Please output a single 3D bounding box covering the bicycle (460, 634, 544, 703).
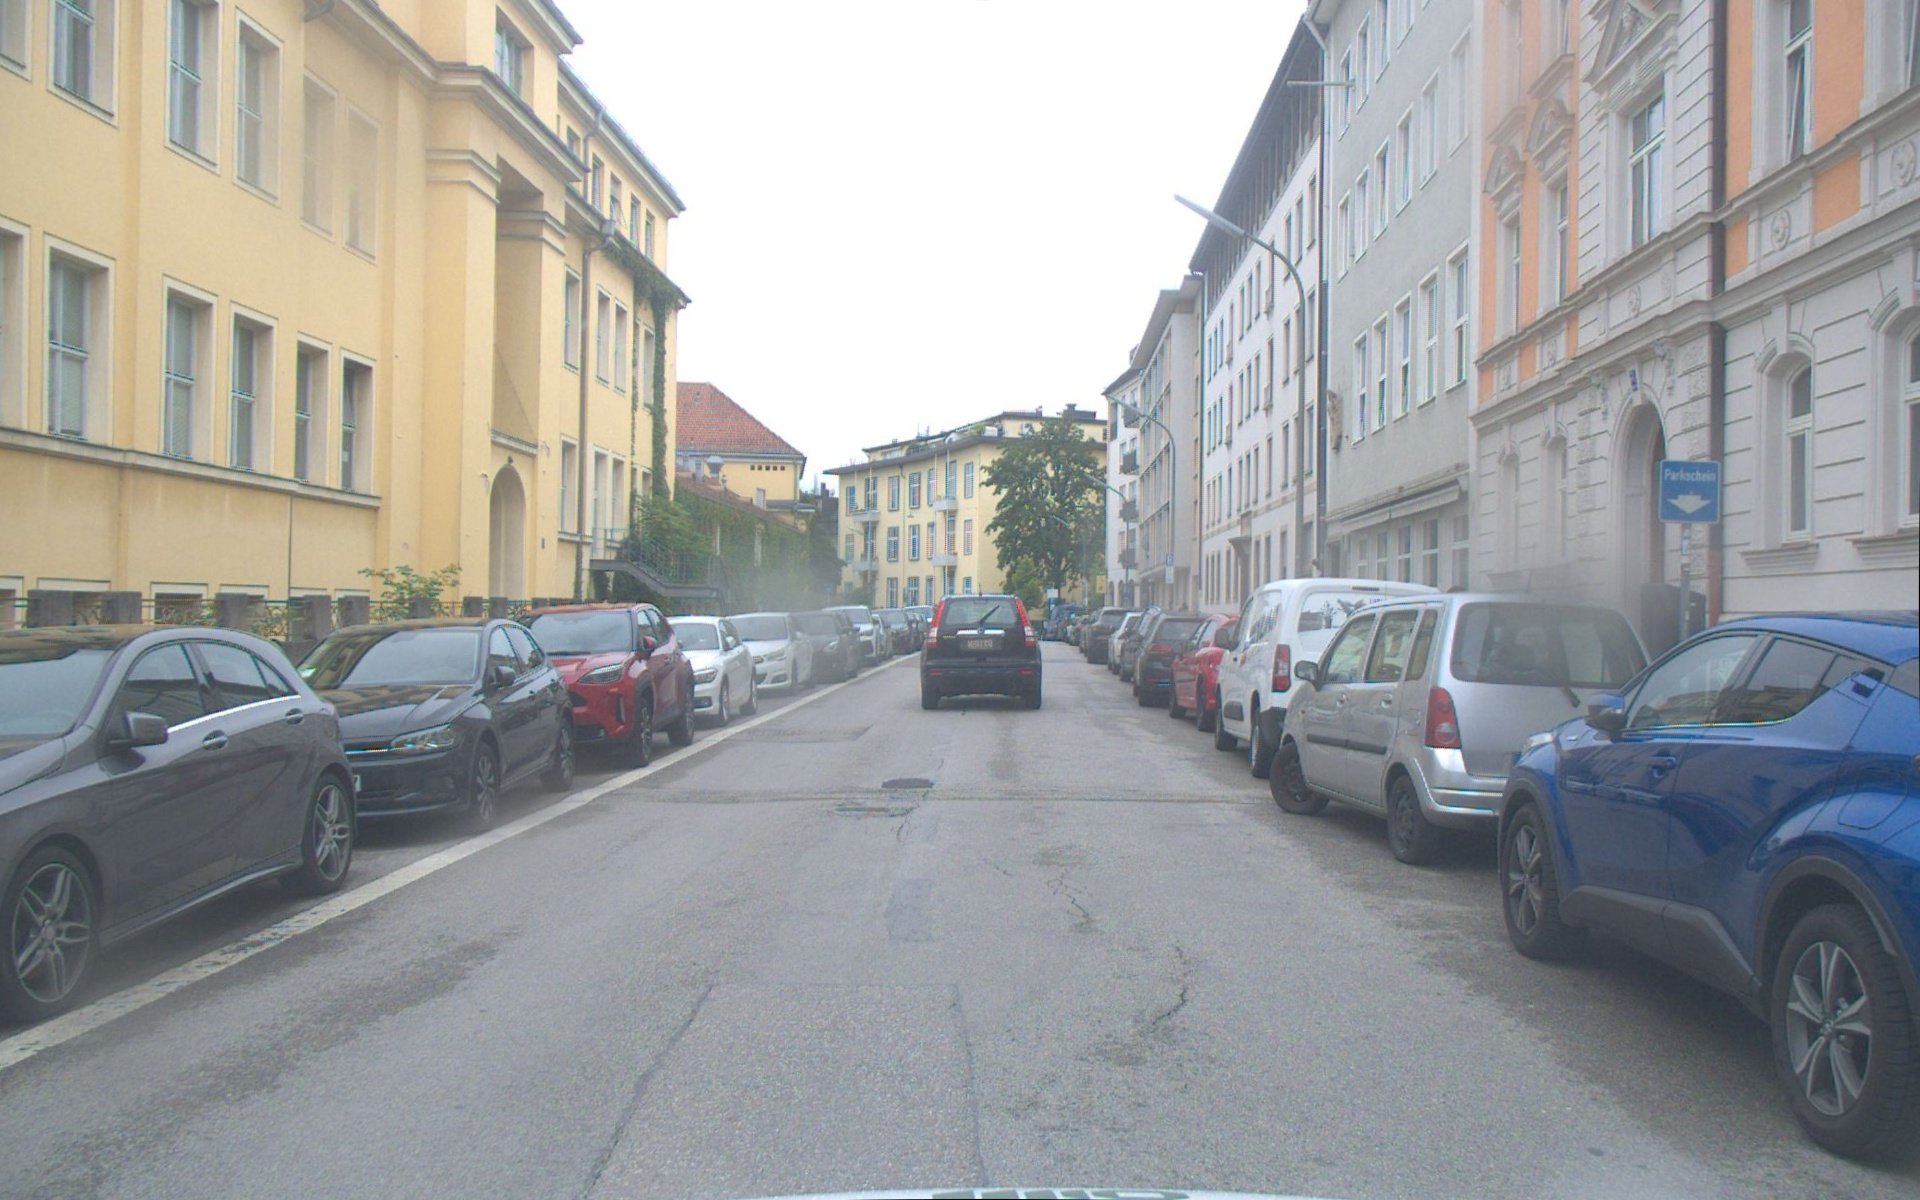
[{"bbox_3d":[-7.808,1.153,28.266,0.573,1.096,1.718,2,-1,14],"label":"bicycle"}]

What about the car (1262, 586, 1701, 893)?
[{"bbox_3d":[3.309,0.827,11.219,1.572,1.671,3.628,3,-1,-4],"label":"car"}]

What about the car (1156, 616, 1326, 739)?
[{"bbox_3d":[3.692,0.990,22.363,1.566,1.477,4.301,1,-1,0],"label":"car"}]

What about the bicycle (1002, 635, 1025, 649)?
[{"bbox_3d":[4.607,3.632,143.063,2.179,1.136,0.606,0,-2,44],"label":"bicycle"}]

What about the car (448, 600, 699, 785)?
[{"bbox_3d":[-3.779,0.855,16.821,1.641,1.594,3.996,-2,-1,-1],"label":"car"}]

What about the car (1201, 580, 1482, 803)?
[{"bbox_3d":[3.623,0.801,16.621,1.802,1.817,4.896,3,0,2],"label":"car"}]

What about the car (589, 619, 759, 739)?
[{"bbox_3d":[-3.775,0.996,22.432,1.641,1.422,3.996,-2,-1,-1],"label":"car"}]

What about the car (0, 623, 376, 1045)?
[{"bbox_3d":[-4.169,0.853,7.185,1.757,1.429,4.127,-2,-1,0],"label":"car"}]

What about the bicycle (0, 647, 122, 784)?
[{"bbox_3d":[-8.759,1.065,15.696,0.415,1.192,1.939,3,0,5],"label":"bicycle"}]

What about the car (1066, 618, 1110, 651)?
[{"bbox_3d":[5.999,1.599,77.896,1.759,1.445,4.482,1,0,1],"label":"car"}]

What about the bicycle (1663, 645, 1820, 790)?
[{"bbox_3d":[7.427,1.078,15.826,0.637,1.204,2.096,-1,1,4],"label":"bicycle"}]

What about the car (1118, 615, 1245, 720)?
[{"bbox_3d":[3.530,1.051,26.994,1.657,1.476,4.084,3,-1,3],"label":"car"}]

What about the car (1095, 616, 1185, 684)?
[{"bbox_3d":[4.313,1.182,40.117,1.658,1.489,4.082,3,-1,0],"label":"car"}]

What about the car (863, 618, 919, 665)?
[{"bbox_3d":[-2.398,1.432,58.309,1.745,1.565,4.195,1,0,0],"label":"car"}]

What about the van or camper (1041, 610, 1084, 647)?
[{"bbox_3d":[6.460,1.763,105.141,2.019,2.270,5.434,1,-1,-4],"label":"van or camper"}]

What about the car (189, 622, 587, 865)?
[{"bbox_3d":[-3.986,0.909,12.226,1.641,1.429,3.989,-2,-1,-2],"label":"car"}]

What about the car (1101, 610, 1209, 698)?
[{"bbox_3d":[3.937,1.063,33.930,1.658,1.611,4.082,3,-1,0],"label":"car"}]

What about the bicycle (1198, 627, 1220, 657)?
[{"bbox_3d":[9.980,1.680,66.366,0.645,1.183,2.028,0,-1,2],"label":"bicycle"}]

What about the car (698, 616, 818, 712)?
[{"bbox_3d":[-3.581,1.099,29.907,1.688,1.554,4.086,-2,-1,-1],"label":"car"}]

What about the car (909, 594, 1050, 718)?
[{"bbox_3d":[0.253,0.804,25.506,1.954,1.724,4.379,1,0,-1],"label":"car"}]

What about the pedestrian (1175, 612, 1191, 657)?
[{"bbox_3d":[8.038,1.251,59.583,0.520,1.612,0.560,1,-1,2],"label":"pedestrian"}]

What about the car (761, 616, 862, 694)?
[{"bbox_3d":[-3.138,1.142,35.526,1.645,1.522,3.986,-2,-1,2],"label":"car"}]

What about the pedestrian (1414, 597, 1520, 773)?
[{"bbox_3d":[4.986,0.824,16.298,0.843,1.691,0.647,1,-1,2],"label":"pedestrian"}]

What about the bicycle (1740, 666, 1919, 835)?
[{"bbox_3d":[6.858,1.113,12.728,0.654,1.141,1.953,2,-1,-4],"label":"bicycle"}]

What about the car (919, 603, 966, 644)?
[{"bbox_3d":[-0.828,1.140,80.328,1.952,1.908,4.760,1,-1,3],"label":"car"}]

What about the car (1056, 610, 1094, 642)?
[{"bbox_3d":[6.903,1.567,99.582,1.924,1.848,4.935,-1,0,0],"label":"car"}]

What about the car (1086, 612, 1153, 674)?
[{"bbox_3d":[4.453,1.190,46.661,1.741,1.612,4.331,1,-1,4],"label":"car"}]

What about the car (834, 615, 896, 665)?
[{"bbox_3d":[-2.900,1.216,50.971,1.645,1.451,3.894,1,0,0],"label":"car"}]

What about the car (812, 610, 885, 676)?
[{"bbox_3d":[-3.006,1.138,45.389,1.645,1.662,4.357,-2,-1,0],"label":"car"}]

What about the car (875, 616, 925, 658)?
[{"bbox_3d":[-2.294,1.405,64.283,1.745,1.565,4.149,1,0,0],"label":"car"}]

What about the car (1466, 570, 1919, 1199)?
[{"bbox_3d":[3.321,0.789,5.979,1.705,1.615,4.201,3,0,1],"label":"car"}]

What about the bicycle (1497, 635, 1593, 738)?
[{"bbox_3d":[7.616,1.098,21.614,0.637,1.204,2.096,-1,1,4],"label":"bicycle"}]
